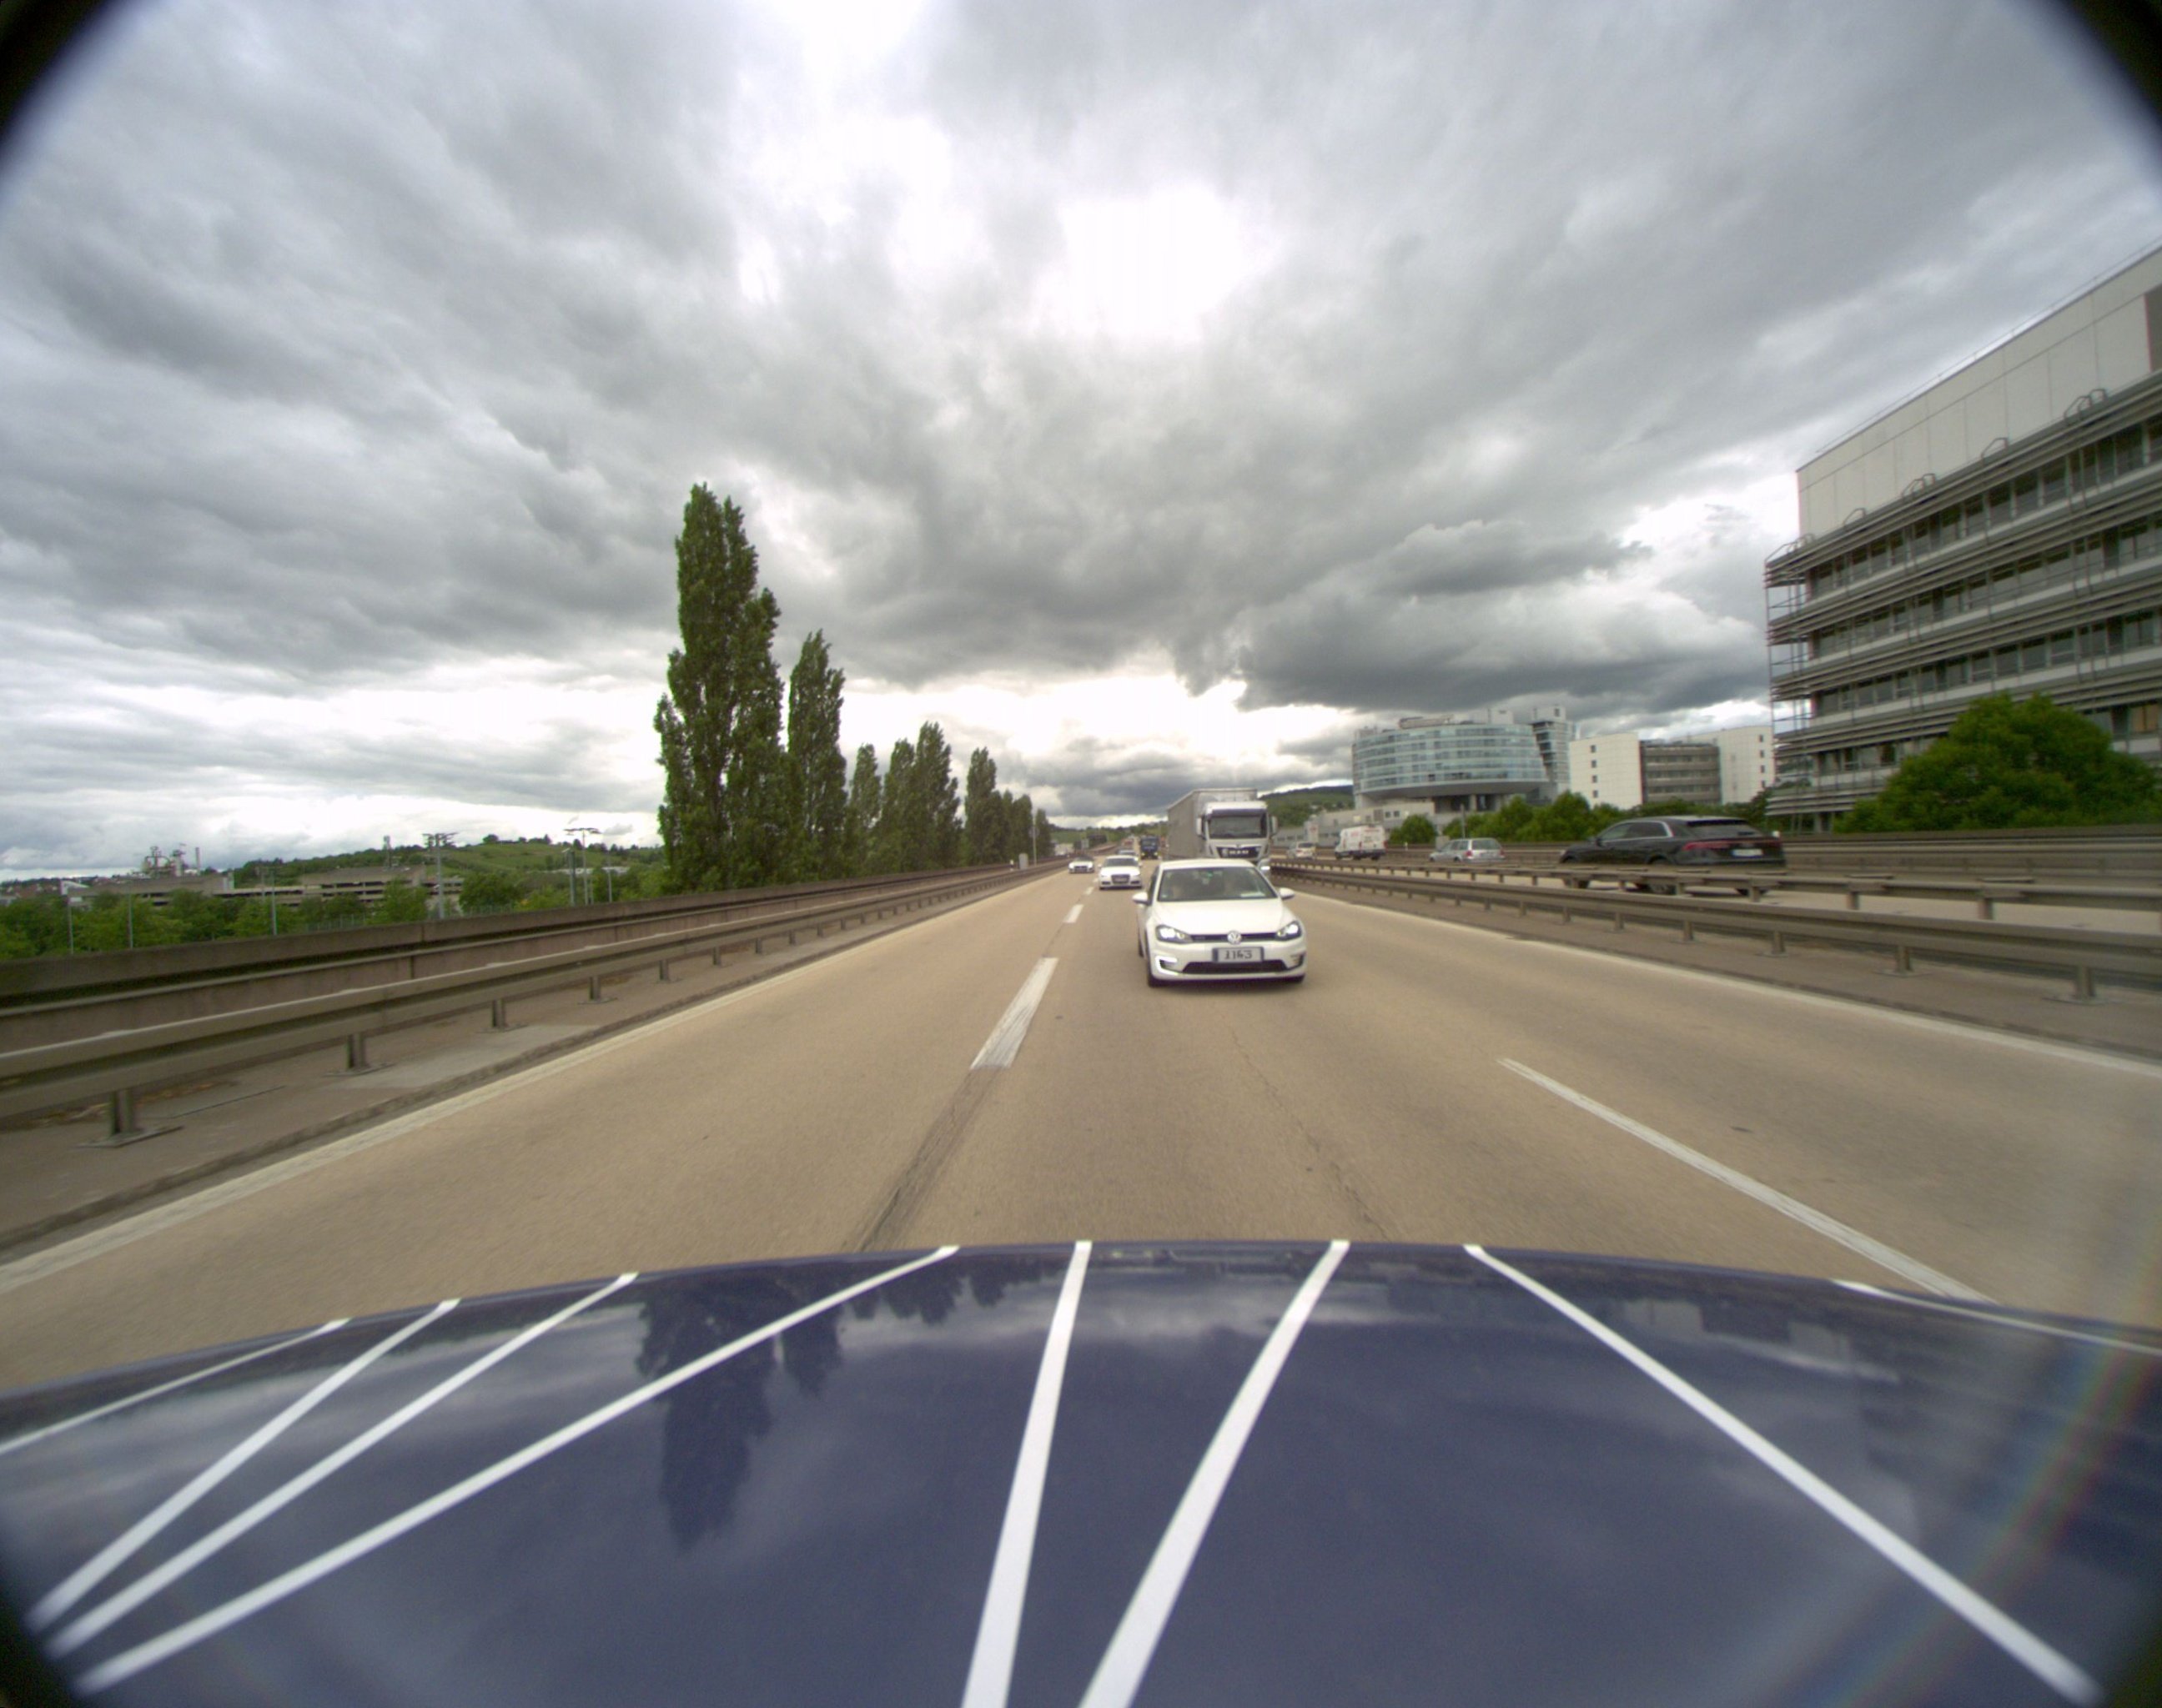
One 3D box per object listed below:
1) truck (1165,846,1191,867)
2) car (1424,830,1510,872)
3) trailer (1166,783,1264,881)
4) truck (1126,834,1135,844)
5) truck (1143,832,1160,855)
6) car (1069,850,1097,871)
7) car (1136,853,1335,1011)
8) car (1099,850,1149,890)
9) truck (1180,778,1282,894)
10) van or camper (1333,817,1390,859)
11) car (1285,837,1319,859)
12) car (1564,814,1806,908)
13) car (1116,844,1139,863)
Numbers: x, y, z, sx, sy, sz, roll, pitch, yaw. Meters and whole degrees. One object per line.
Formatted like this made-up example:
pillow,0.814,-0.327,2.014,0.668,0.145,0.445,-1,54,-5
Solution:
truck,7.623,0.166,59.970,1.829,1.521,3.514,-2,1,4
car,16.868,-0.178,33.447,1.687,1.641,4.448,-3,1,4
trailer,6.362,-1.025,38.184,3.189,4.003,11.765,-3,1,3
truck,16.057,-4.809,244.847,2.625,3.219,6.687,-2,1,4
truck,10.401,-1.602,112.493,2.336,3.219,6.687,-2,1,4
car,0.182,0.491,59.995,1.930,1.499,4.061,-3,1,4
car,1.708,0.798,9.748,1.930,1.499,4.061,-2,1,4
car,1.865,0.635,32.745,1.930,1.499,4.061,-3,1,4
truck,5.819,-0.700,30.422,3.141,4.014,5.689,-3,1,4
van or camper,22.027,-1.230,60.033,2.176,2.991,7.118,-2,1,4
car,18.447,-0.536,63.605,1.687,1.641,4.312,-3,1,3
car,12.690,0.086,16.400,1.766,1.641,4.334,-4,1,1
car,4.263,-0.042,69.369,1.930,1.585,4.061,-3,1,4
